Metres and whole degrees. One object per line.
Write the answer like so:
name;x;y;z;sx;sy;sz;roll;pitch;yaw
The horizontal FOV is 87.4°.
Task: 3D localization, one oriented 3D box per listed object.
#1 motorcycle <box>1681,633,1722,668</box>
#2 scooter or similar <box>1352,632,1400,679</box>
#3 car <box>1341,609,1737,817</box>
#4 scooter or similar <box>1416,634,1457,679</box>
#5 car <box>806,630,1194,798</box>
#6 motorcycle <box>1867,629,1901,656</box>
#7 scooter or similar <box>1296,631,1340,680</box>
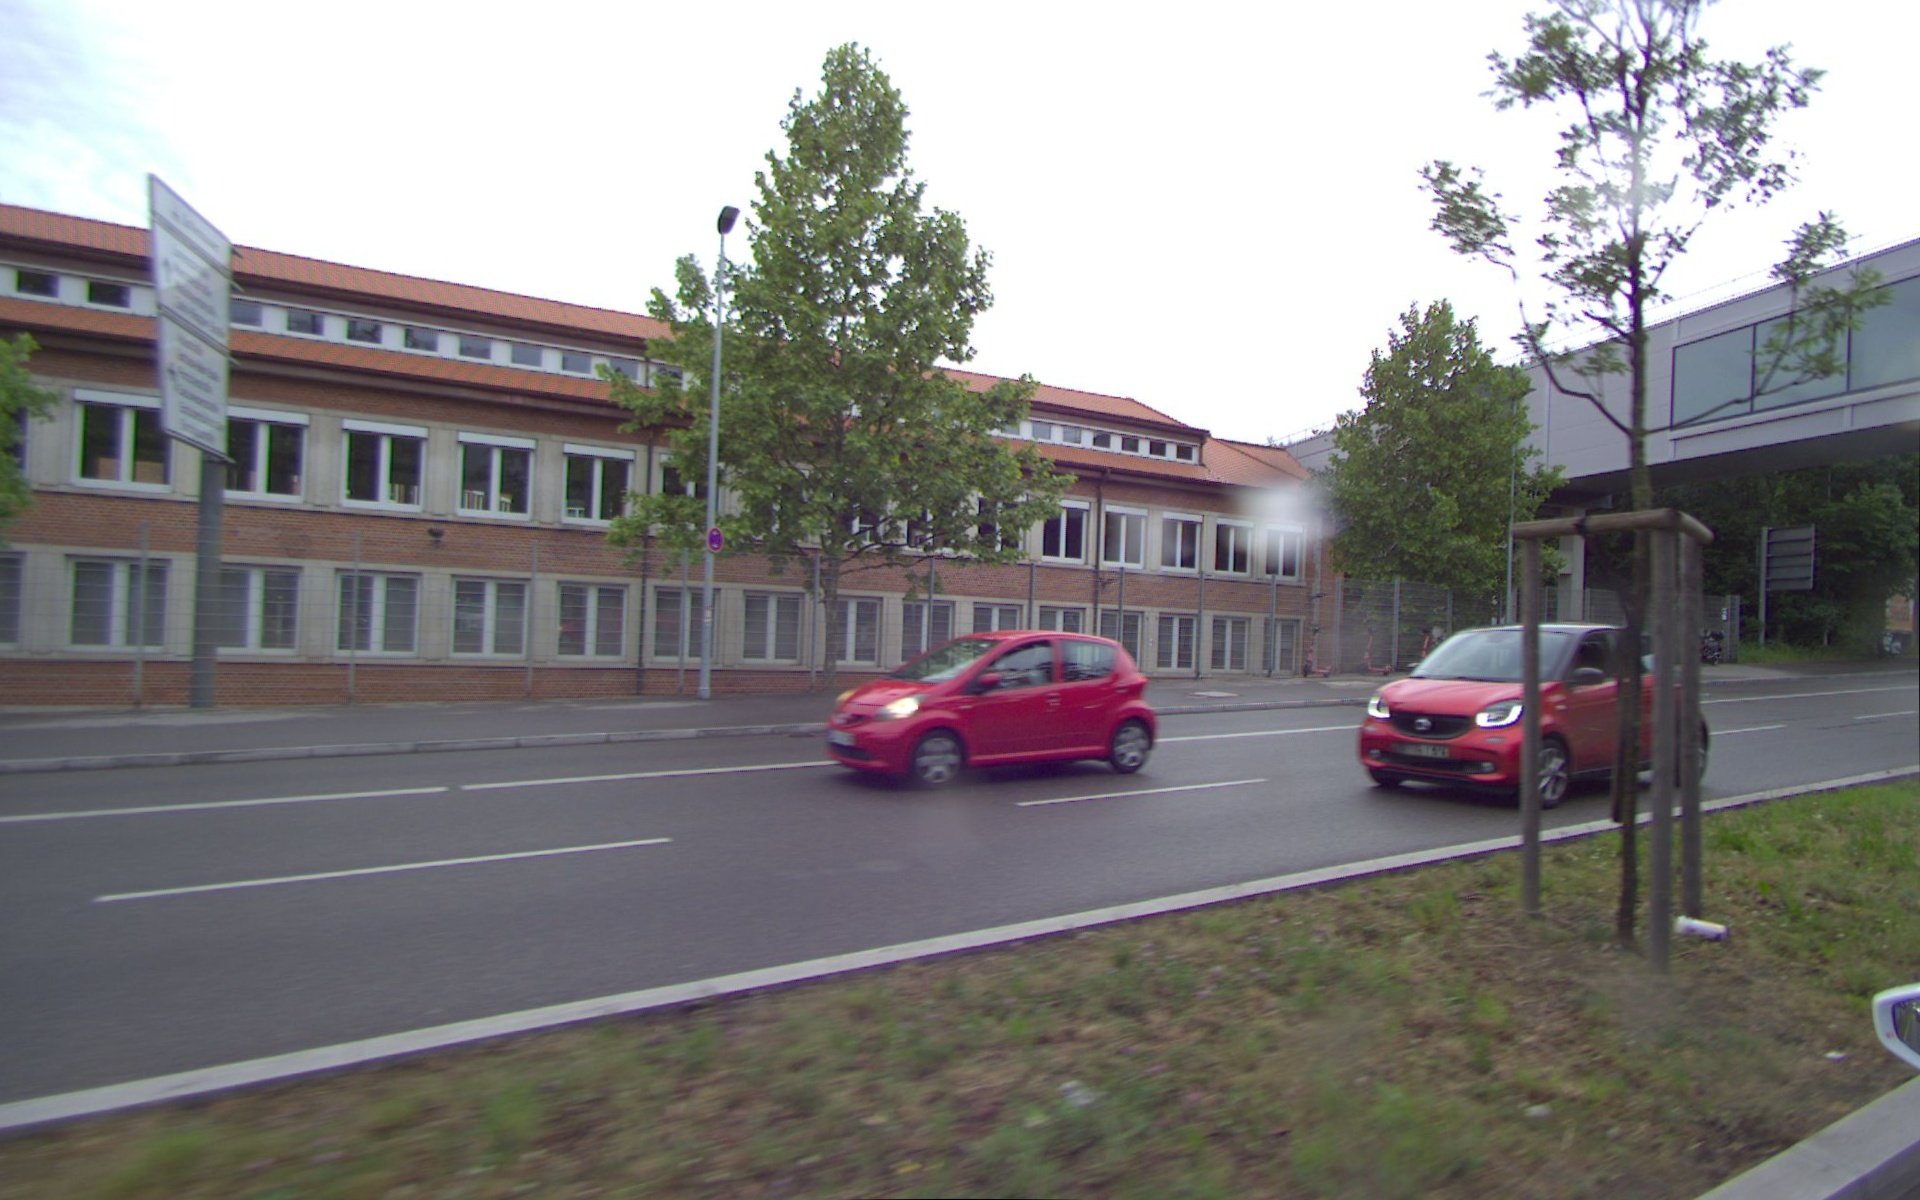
motorcycle;26.589;1.805;36.010;1.973;1.221;0.466;0;-1;-31
scooter or similar;11.149;1.475;26.909;1.287;1.234;0.311;0;-1;-19
car;5.549;0.961;9.531;3.810;1.626;1.578;2;-3;-30
scooter or similar;13.391;1.578;28.214;1.290;1.234;0.310;1;-1;-26
car;0.467;1.066;10.428;3.729;1.456;1.707;2;-3;-31
motorcycle;41.143;1.896;44.733;1.907;1.174;0.467;0;-1;-27
scooter or similar;9.193;1.404;25.760;1.292;1.234;0.310;1;-1;-30
